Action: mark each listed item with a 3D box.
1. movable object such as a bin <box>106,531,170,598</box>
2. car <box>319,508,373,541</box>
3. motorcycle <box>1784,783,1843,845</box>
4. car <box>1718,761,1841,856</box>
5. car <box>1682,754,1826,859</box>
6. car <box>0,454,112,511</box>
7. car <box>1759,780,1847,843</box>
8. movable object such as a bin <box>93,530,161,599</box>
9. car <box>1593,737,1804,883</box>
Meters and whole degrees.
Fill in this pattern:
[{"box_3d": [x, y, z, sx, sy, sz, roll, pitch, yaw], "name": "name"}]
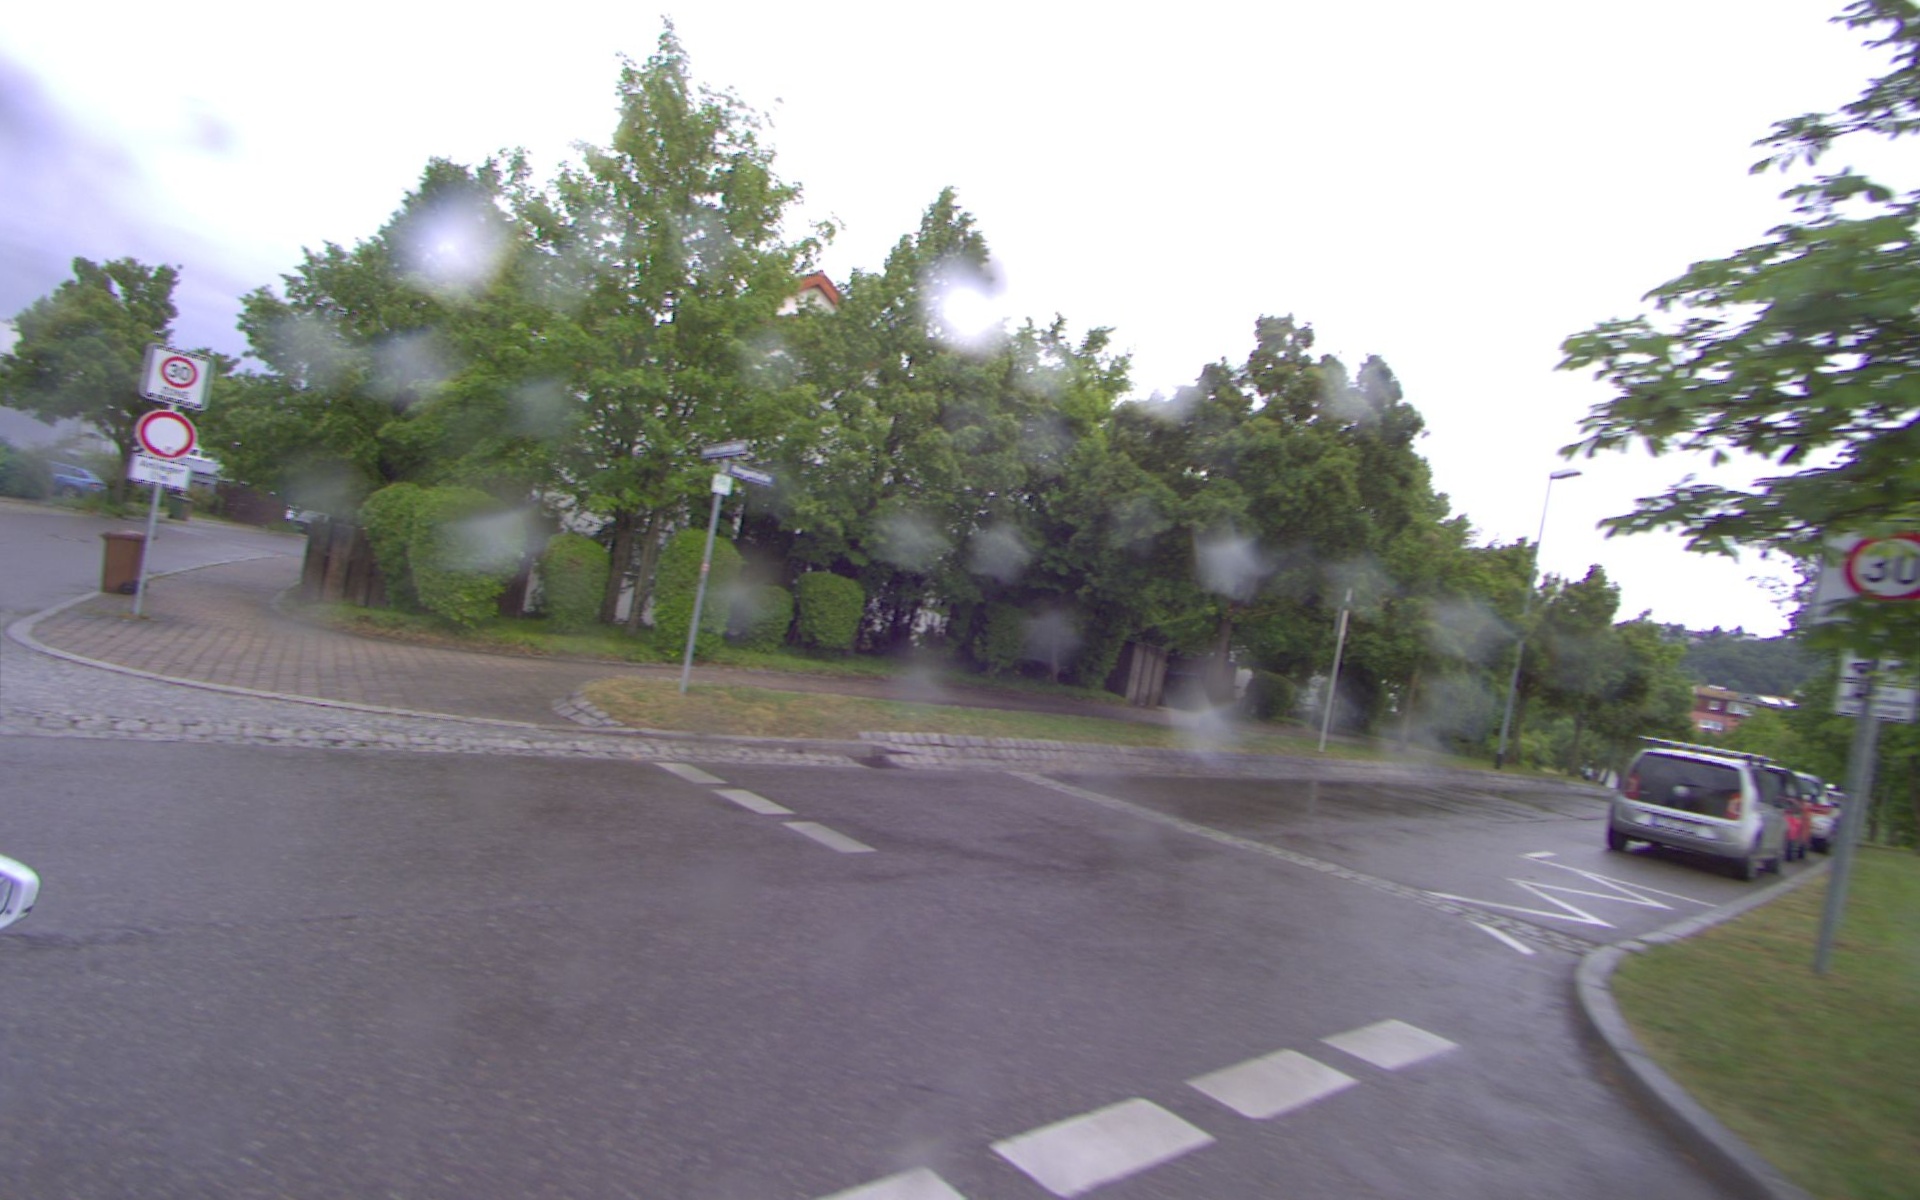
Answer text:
[{"box_3d": [-12.957, -0.563, 15.874, 0.566, 0.941, 0.526, 10, -1, -27], "name": "movable object such as a bin"}, {"box_3d": [-45.891, -5.604, 75.280, 1.769, 1.831, 3.847, 10, -1, -6], "name": "car"}, {"box_3d": [21.972, 5.501, 25.918, 0.957, 1.316, 2.258, 10, -2, 41], "name": "motorcycle"}, {"box_3d": [18.609, 4.691, 22.820, 1.826, 1.568, 3.978, 9, -3, 41], "name": "car"}, {"box_3d": [14.501, 3.752, 18.336, 2.997, 1.452, 1.534, 12, -3, -44], "name": "car"}, {"box_3d": [-39.041, -5.043, 42.992, 3.971, 1.585, 1.890, 12, -3, -36], "name": "car"}, {"box_3d": [24.124, 6.009, 28.829, 1.709, 1.295, 3.318, 9, -2, 41], "name": "car"}, {"box_3d": [-12.703, -0.537, 15.353, 0.566, 0.941, 0.526, 10, -1, -27], "name": "movable object such as a bin"}, {"box_3d": [10.480, 2.906, 14.188, 3.535, 1.496, 1.659, 11, -2, -43], "name": "car"}]
